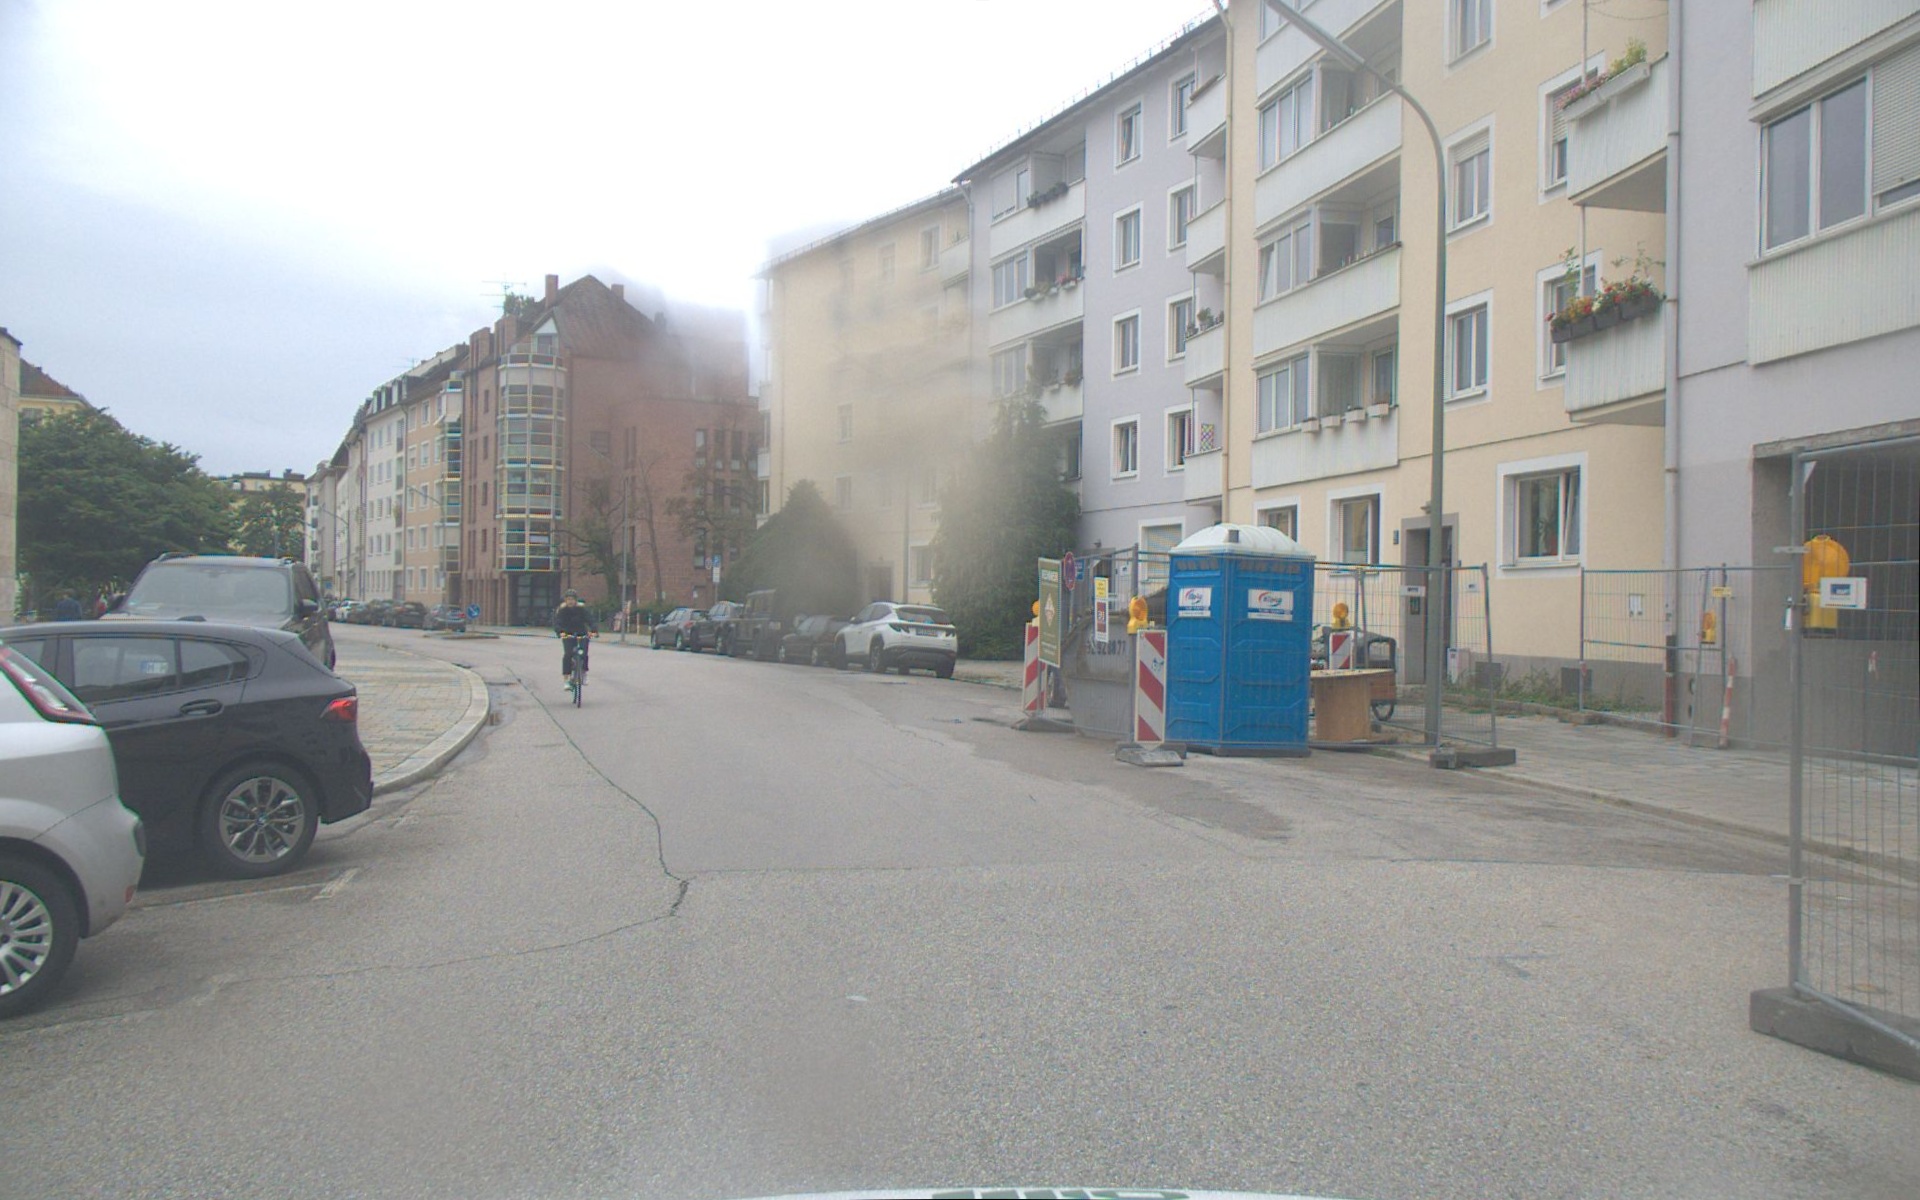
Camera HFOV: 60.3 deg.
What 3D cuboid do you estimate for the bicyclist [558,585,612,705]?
[{"bbox_3d":[-5.600,0.660,24.731,0.734,1.747,1.029,0,1,-11],"label":"bicyclist"}]

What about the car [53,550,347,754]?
[{"bbox_3d":[-7.663,0.456,17.178,1.960,1.803,4.795,1,0,-15],"label":"car"}]

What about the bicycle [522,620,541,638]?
[{"bbox_3d":[-25.408,1.724,98.124,0.481,1.078,1.974,3,-2,-32],"label":"bicycle"}]

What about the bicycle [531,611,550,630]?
[{"bbox_3d":[-24.959,1.218,98.454,0.481,1.078,1.974,3,-1,-32],"label":"bicycle"}]

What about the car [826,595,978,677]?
[{"bbox_3d":[-1.436,0.792,38.603,1.999,1.707,4.580,3,0,-23],"label":"car"}]

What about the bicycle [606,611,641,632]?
[{"bbox_3d":[-17.263,1.103,84.863,1.682,0.982,0.541,3,-1,-30],"label":"bicycle"}]

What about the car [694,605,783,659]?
[{"bbox_3d":[-7.054,0.990,52.279,1.636,1.593,4.482,3,-1,-23],"label":"car"}]

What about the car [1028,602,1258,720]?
[{"bbox_3d":[2.514,0.812,24.012,1.800,1.467,4.612,3,0,-14],"label":"car"}]

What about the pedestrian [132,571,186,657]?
[{"bbox_3d":[-16.948,0.285,35.018,0.780,1.770,0.818,2,-1,-13],"label":"pedestrian"}]

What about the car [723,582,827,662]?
[{"bbox_3d":[-5.386,0.589,47.599,1.724,2.118,4.484,3,0,-23],"label":"car"}]

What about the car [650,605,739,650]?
[{"bbox_3d":[-9.175,0.950,56.853,1.735,1.421,4.005,3,-2,-29],"label":"car"}]

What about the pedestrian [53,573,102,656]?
[{"bbox_3d":[-17.714,0.295,33.208,0.595,1.629,0.641,2,-1,41],"label":"pedestrian"}]

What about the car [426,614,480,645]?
[{"bbox_3d":[-27.333,1.565,89.087,1.904,1.539,4.348,3,-1,-29],"label":"car"}]

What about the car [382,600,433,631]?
[{"bbox_3d":[-32.800,0.916,98.083,1.813,1.630,4.218,3,0,-33],"label":"car"}]

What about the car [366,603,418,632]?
[{"bbox_3d":[-35.209,1.074,102.400,1.946,1.630,4.618,3,0,-33],"label":"car"}]

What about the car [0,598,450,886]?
[{"bbox_3d":[-5.103,0.745,9.225,3.973,1.397,1.722,-2,0,-42],"label":"car"}]

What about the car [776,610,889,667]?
[{"bbox_3d":[-3.369,1.001,43.241,1.638,1.373,3.772,3,-2,-26],"label":"car"}]

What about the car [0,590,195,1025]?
[{"bbox_3d":[-5.015,0.693,5.777,3.944,1.557,1.652,3,-1,-40],"label":"car"}]

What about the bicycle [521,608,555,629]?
[{"bbox_3d":[-24.647,1.084,96.651,1.824,1.167,0.484,3,-1,-24],"label":"bicycle"}]

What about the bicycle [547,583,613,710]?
[{"bbox_3d":[-5.679,0.639,24.861,0.781,1.752,3.107,-2,1,-11],"label":"bicycle"}]
